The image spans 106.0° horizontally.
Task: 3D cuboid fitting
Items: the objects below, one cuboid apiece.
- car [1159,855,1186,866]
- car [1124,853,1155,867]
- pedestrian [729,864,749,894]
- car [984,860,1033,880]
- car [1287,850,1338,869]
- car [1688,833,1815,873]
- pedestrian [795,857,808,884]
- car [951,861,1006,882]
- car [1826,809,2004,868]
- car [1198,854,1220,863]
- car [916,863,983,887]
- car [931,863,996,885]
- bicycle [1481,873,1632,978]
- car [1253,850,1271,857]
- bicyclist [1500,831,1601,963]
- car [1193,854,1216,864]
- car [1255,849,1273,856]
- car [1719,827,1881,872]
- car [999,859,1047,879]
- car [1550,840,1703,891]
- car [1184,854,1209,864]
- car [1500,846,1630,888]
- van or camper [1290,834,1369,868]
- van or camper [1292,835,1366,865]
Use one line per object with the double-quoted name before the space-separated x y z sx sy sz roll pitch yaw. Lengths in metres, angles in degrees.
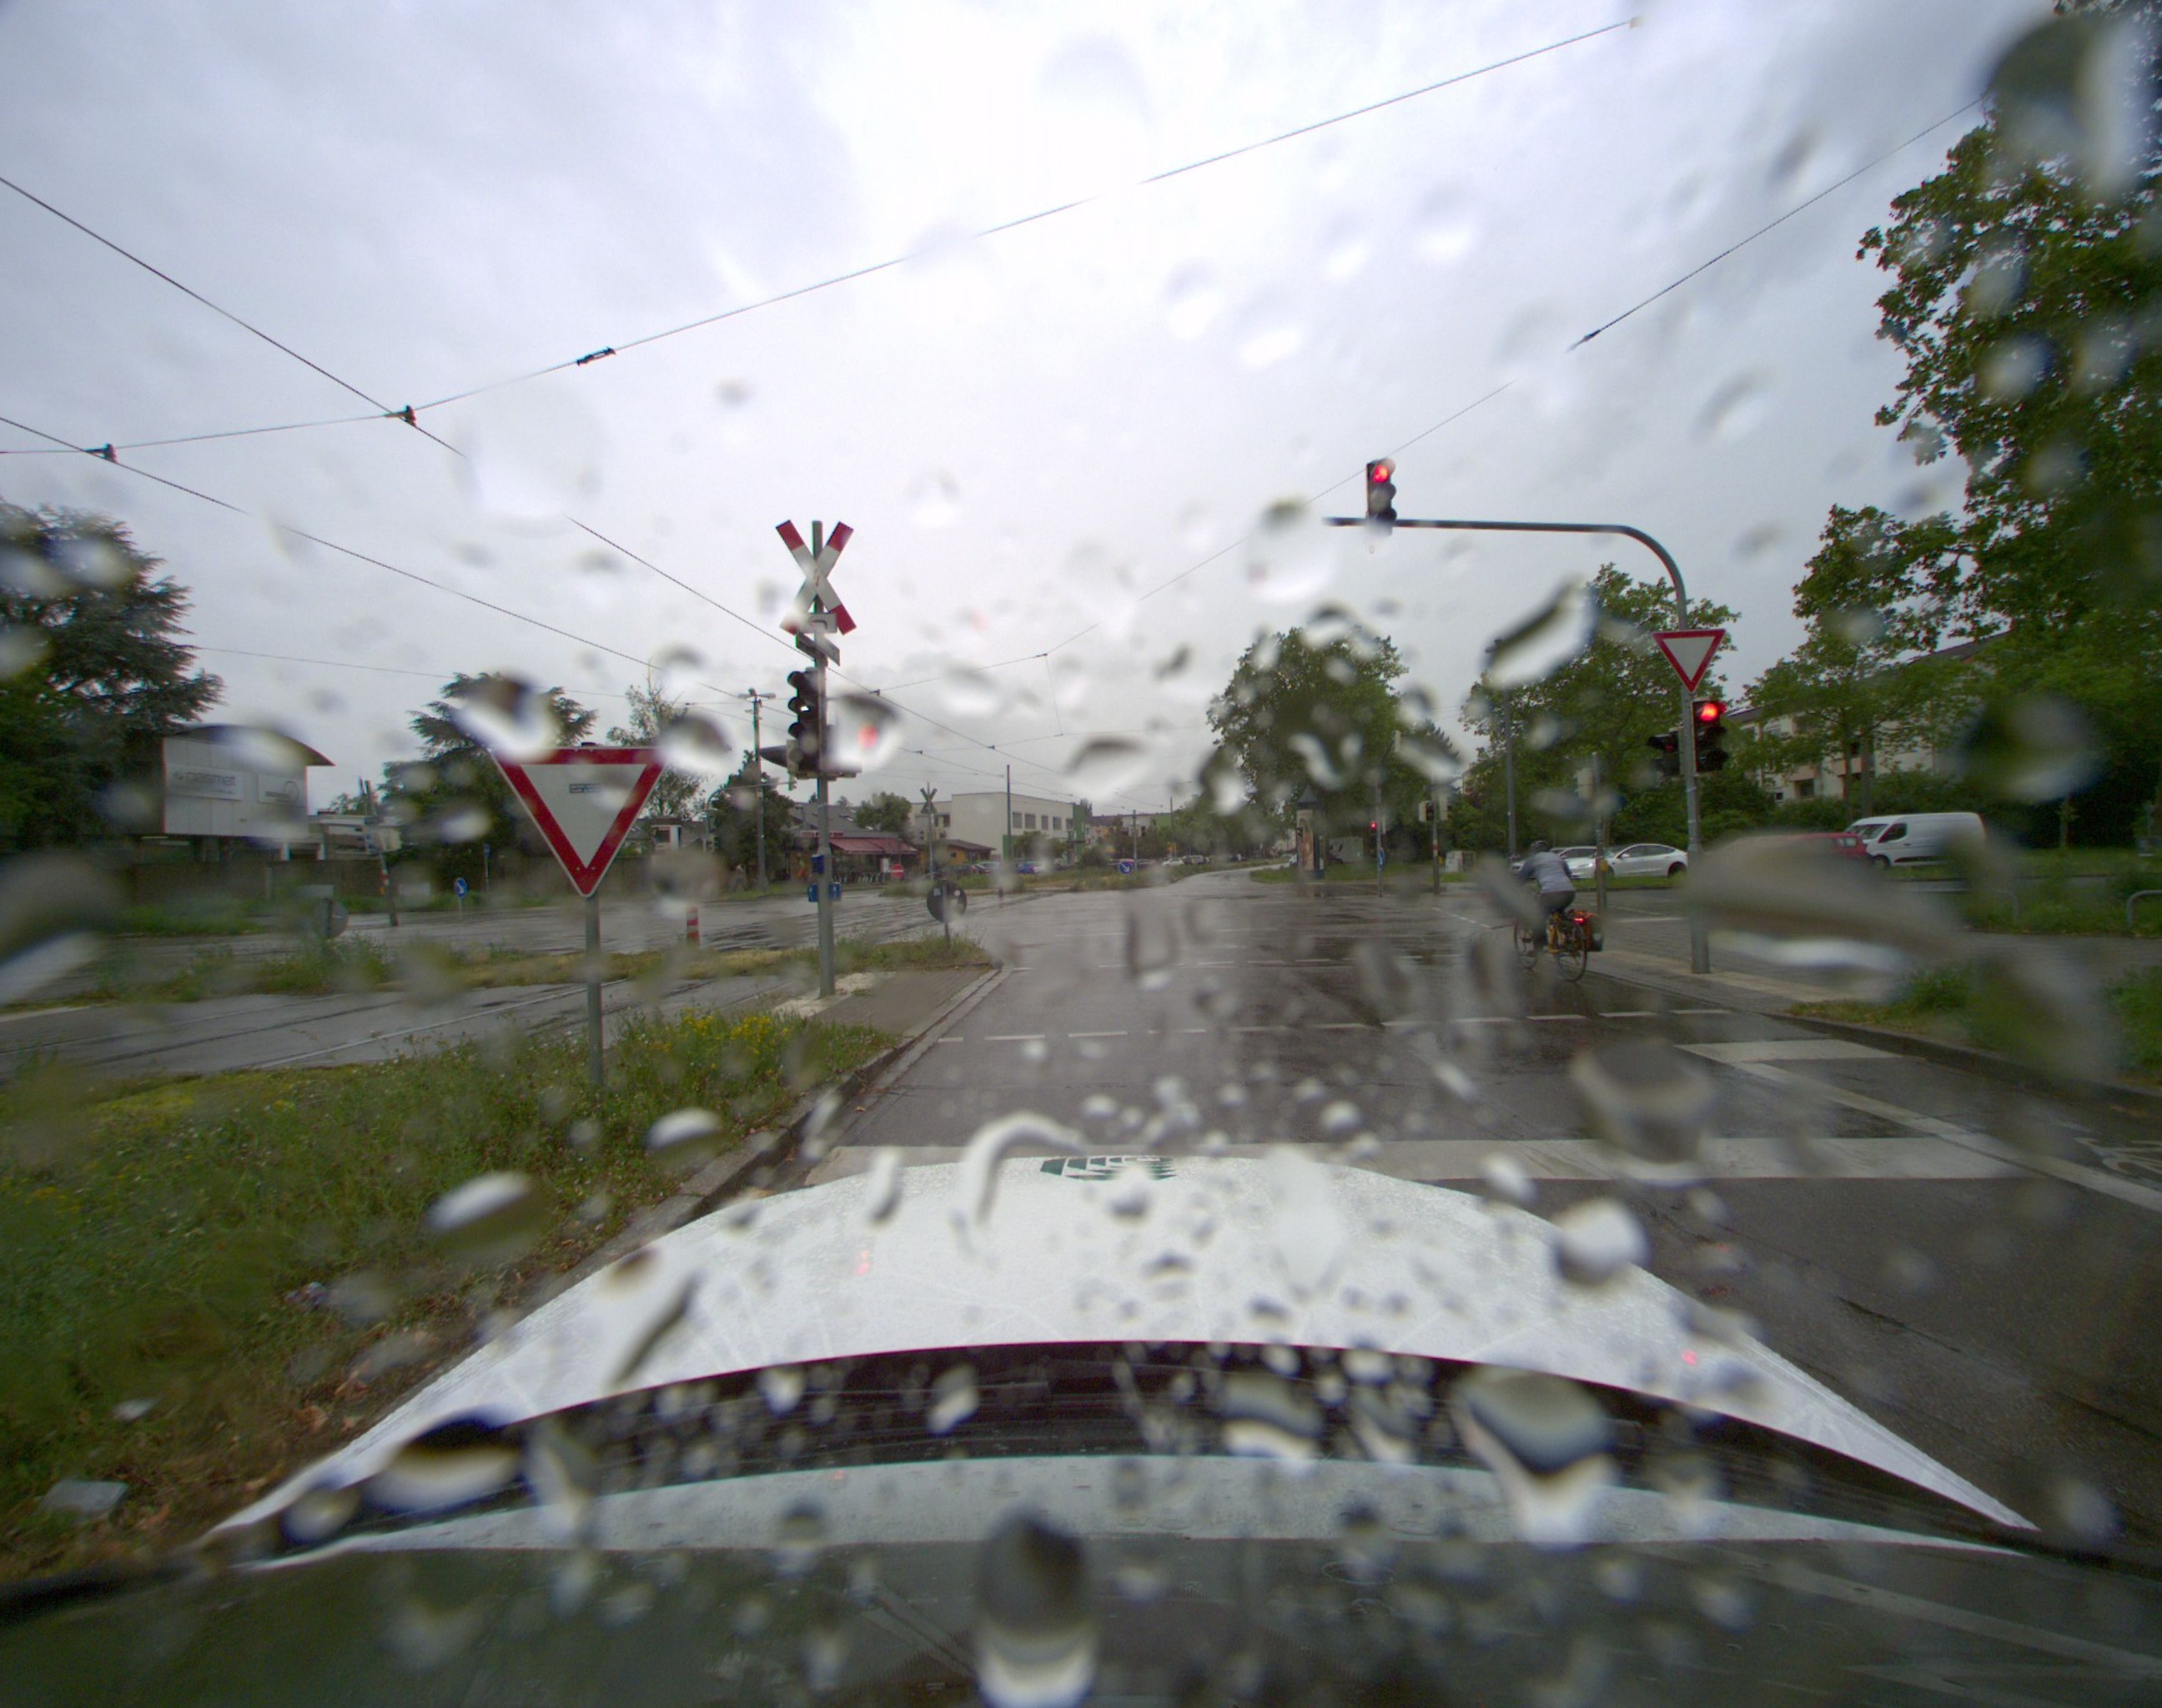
"car" 14.230 0.981 126.503 3.772 1.702 1.832 0 -1 -8
"car" 7.906 0.845 110.133 3.980 1.887 1.997 0 -1 -5
"pedestrian" -20.462 1.482 48.766 0.719 1.797 0.890 0 0 14
"car" -6.261 1.368 70.050 3.986 1.582 1.924 -2 -1 -9
"car" 21.955 0.504 77.246 4.405 1.717 2.011 -1 -1 23
"car" 28.193 -0.043 34.313 4.048 1.607 1.788 0 -1 -5
"pedestrian" -20.605 1.216 60.030 0.723 2.014 0.792 0 -1 -9
"car" -8.178 1.389 65.134 3.966 1.582 1.862 -2 -1 6
"car" 35.265 -0.627 34.536 5.589 2.392 1.999 0 -1 -2
"car" 24.971 0.896 158.545 3.977 1.832 1.998 0 -1 -3
"car" -9.561 1.512 59.365 4.459 1.418 1.860 -3 -1 3
"car" -8.894 1.495 61.759 4.478 1.418 1.860 -3 -1 3
"bicycle" 5.630 0.796 9.790 0.688 1.117 1.884 -1 -1 -1
"car" 44.046 -0.136 197.902 3.977 1.832 1.998 0 -1 -3
"bicyclist" 5.624 0.499 9.801 0.688 1.506 0.844 -1 -1 -1
"car" 23.233 0.868 153.514 3.986 1.832 1.994 0 -1 -10
"car" 45.492 -0.408 202.607 3.977 1.832 1.998 0 -1 -3
"car" 26.982 -0.156 30.655 4.589 1.607 1.790 0 -1 -1
"car" -5.226 1.357 73.197 4.112 1.641 1.922 -1 -1 -12
"car" 20.467 0.423 30.672 4.585 1.828 1.931 0 -1 -5
"car" 20.416 0.853 144.584 3.986 1.759 2.004 0 -1 -10
"car" 20.166 0.521 34.054 4.385 1.691 1.931 0 -1 -5
"van or camper" 24.490 -0.232 80.143 7.261 3.178 3.278 -1 -1 20
"van or camper" 27.212 -0.421 89.249 7.359 3.178 3.281 -1 -1 24
